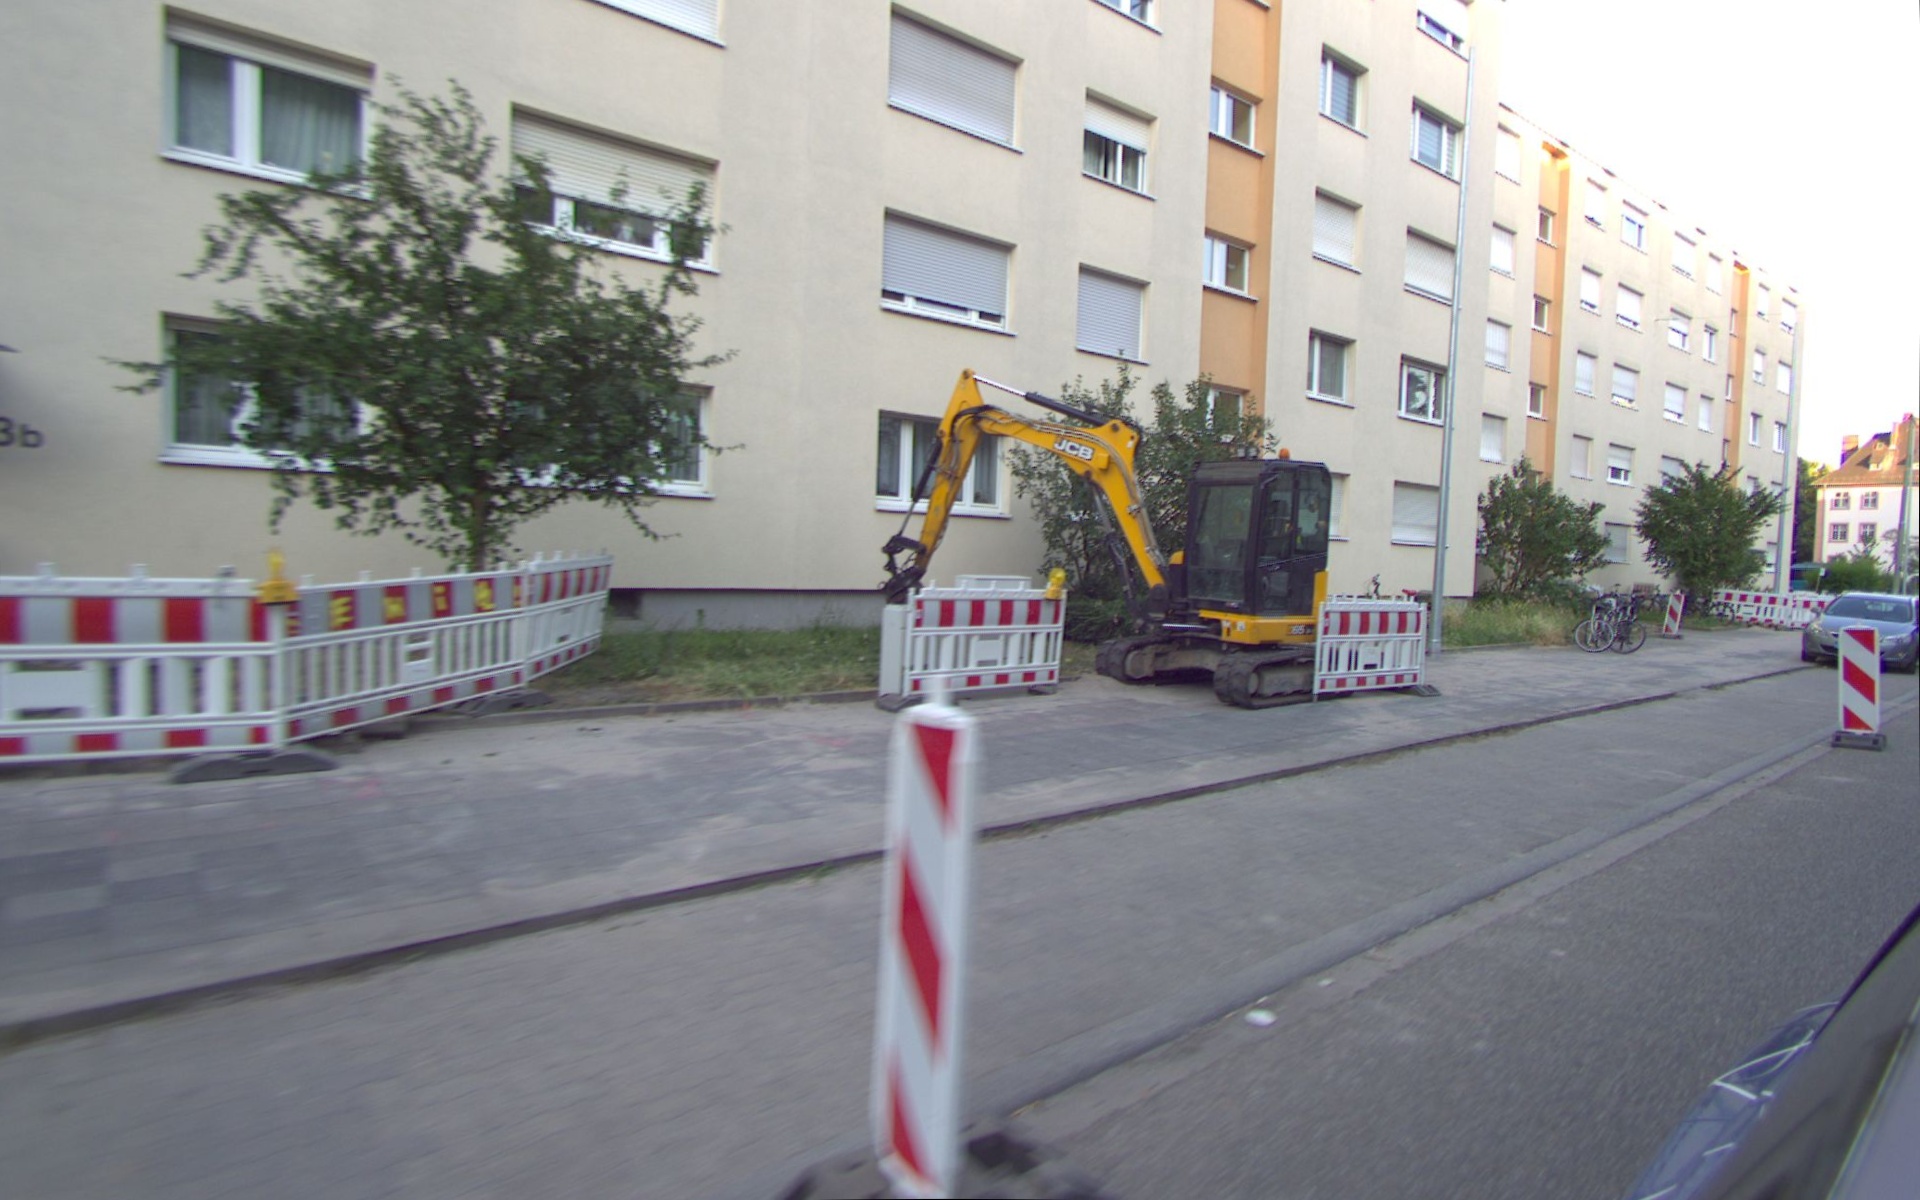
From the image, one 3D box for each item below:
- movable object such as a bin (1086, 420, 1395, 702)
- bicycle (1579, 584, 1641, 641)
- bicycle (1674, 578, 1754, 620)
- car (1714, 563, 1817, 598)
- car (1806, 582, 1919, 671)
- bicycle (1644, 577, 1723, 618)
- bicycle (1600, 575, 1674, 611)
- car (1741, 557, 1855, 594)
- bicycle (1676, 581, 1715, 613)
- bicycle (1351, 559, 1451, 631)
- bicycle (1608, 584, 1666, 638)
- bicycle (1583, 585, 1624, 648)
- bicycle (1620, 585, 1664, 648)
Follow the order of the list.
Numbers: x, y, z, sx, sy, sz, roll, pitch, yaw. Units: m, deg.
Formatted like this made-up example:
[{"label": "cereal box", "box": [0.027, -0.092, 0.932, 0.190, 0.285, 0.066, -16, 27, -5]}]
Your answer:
[{"label": "movable object such as a bin", "box": [3.156, -0.420, 11.396, 2.837, 2.726, 1.940, 0, 2, -36]}, {"label": "bicycle", "box": [14.256, 0.265, 22.177, 1.783, 1.186, 0.557, 0, 2, -38]}, {"label": "bicycle", "box": [23.345, -0.052, 31.370, 0.548, 1.034, 1.818, -1, 8, -39]}, {"label": "car", "box": [48.657, -1.205, 61.204, 1.968, 1.832, 4.493, 0, 4, -38]}, {"label": "car", "box": [19.325, 0.477, 20.999, 4.491, 1.508, 1.782, 0, 7, -40]}, {"label": "bicycle", "box": [21.817, -0.082, 30.543, 0.547, 0.998, 1.763, 0, 8, -31]}, {"label": "bicycle", "box": [21.577, -0.231, 32.300, 1.787, 0.931, 0.557, 5, 6, 9]}, {"label": "car", "box": [52.796, -1.553, 63.862, 2.245, 2.155, 5.042, 0, 3, -32]}, {"label": "bicycle", "box": [23.813, -0.108, 32.789, 0.551, 0.874, 1.604, 6, 7, 21]}, {"label": "bicycle", "box": [8.103, -0.113, 18.622, 1.593, 1.237, 0.477, 3, 2, 44]}, {"label": "bicycle", "box": [15.749, 0.240, 23.529, 1.783, 1.186, 0.557, 0, 2, -38]}, {"label": "bicycle", "box": [13.046, 0.300, 20.513, 0.624, 1.186, 1.795, 2, 2, 33]}, {"label": "bicycle", "box": [13.750, 0.307, 20.434, 0.553, 1.186, 1.798, 2, 2, 30]}]
